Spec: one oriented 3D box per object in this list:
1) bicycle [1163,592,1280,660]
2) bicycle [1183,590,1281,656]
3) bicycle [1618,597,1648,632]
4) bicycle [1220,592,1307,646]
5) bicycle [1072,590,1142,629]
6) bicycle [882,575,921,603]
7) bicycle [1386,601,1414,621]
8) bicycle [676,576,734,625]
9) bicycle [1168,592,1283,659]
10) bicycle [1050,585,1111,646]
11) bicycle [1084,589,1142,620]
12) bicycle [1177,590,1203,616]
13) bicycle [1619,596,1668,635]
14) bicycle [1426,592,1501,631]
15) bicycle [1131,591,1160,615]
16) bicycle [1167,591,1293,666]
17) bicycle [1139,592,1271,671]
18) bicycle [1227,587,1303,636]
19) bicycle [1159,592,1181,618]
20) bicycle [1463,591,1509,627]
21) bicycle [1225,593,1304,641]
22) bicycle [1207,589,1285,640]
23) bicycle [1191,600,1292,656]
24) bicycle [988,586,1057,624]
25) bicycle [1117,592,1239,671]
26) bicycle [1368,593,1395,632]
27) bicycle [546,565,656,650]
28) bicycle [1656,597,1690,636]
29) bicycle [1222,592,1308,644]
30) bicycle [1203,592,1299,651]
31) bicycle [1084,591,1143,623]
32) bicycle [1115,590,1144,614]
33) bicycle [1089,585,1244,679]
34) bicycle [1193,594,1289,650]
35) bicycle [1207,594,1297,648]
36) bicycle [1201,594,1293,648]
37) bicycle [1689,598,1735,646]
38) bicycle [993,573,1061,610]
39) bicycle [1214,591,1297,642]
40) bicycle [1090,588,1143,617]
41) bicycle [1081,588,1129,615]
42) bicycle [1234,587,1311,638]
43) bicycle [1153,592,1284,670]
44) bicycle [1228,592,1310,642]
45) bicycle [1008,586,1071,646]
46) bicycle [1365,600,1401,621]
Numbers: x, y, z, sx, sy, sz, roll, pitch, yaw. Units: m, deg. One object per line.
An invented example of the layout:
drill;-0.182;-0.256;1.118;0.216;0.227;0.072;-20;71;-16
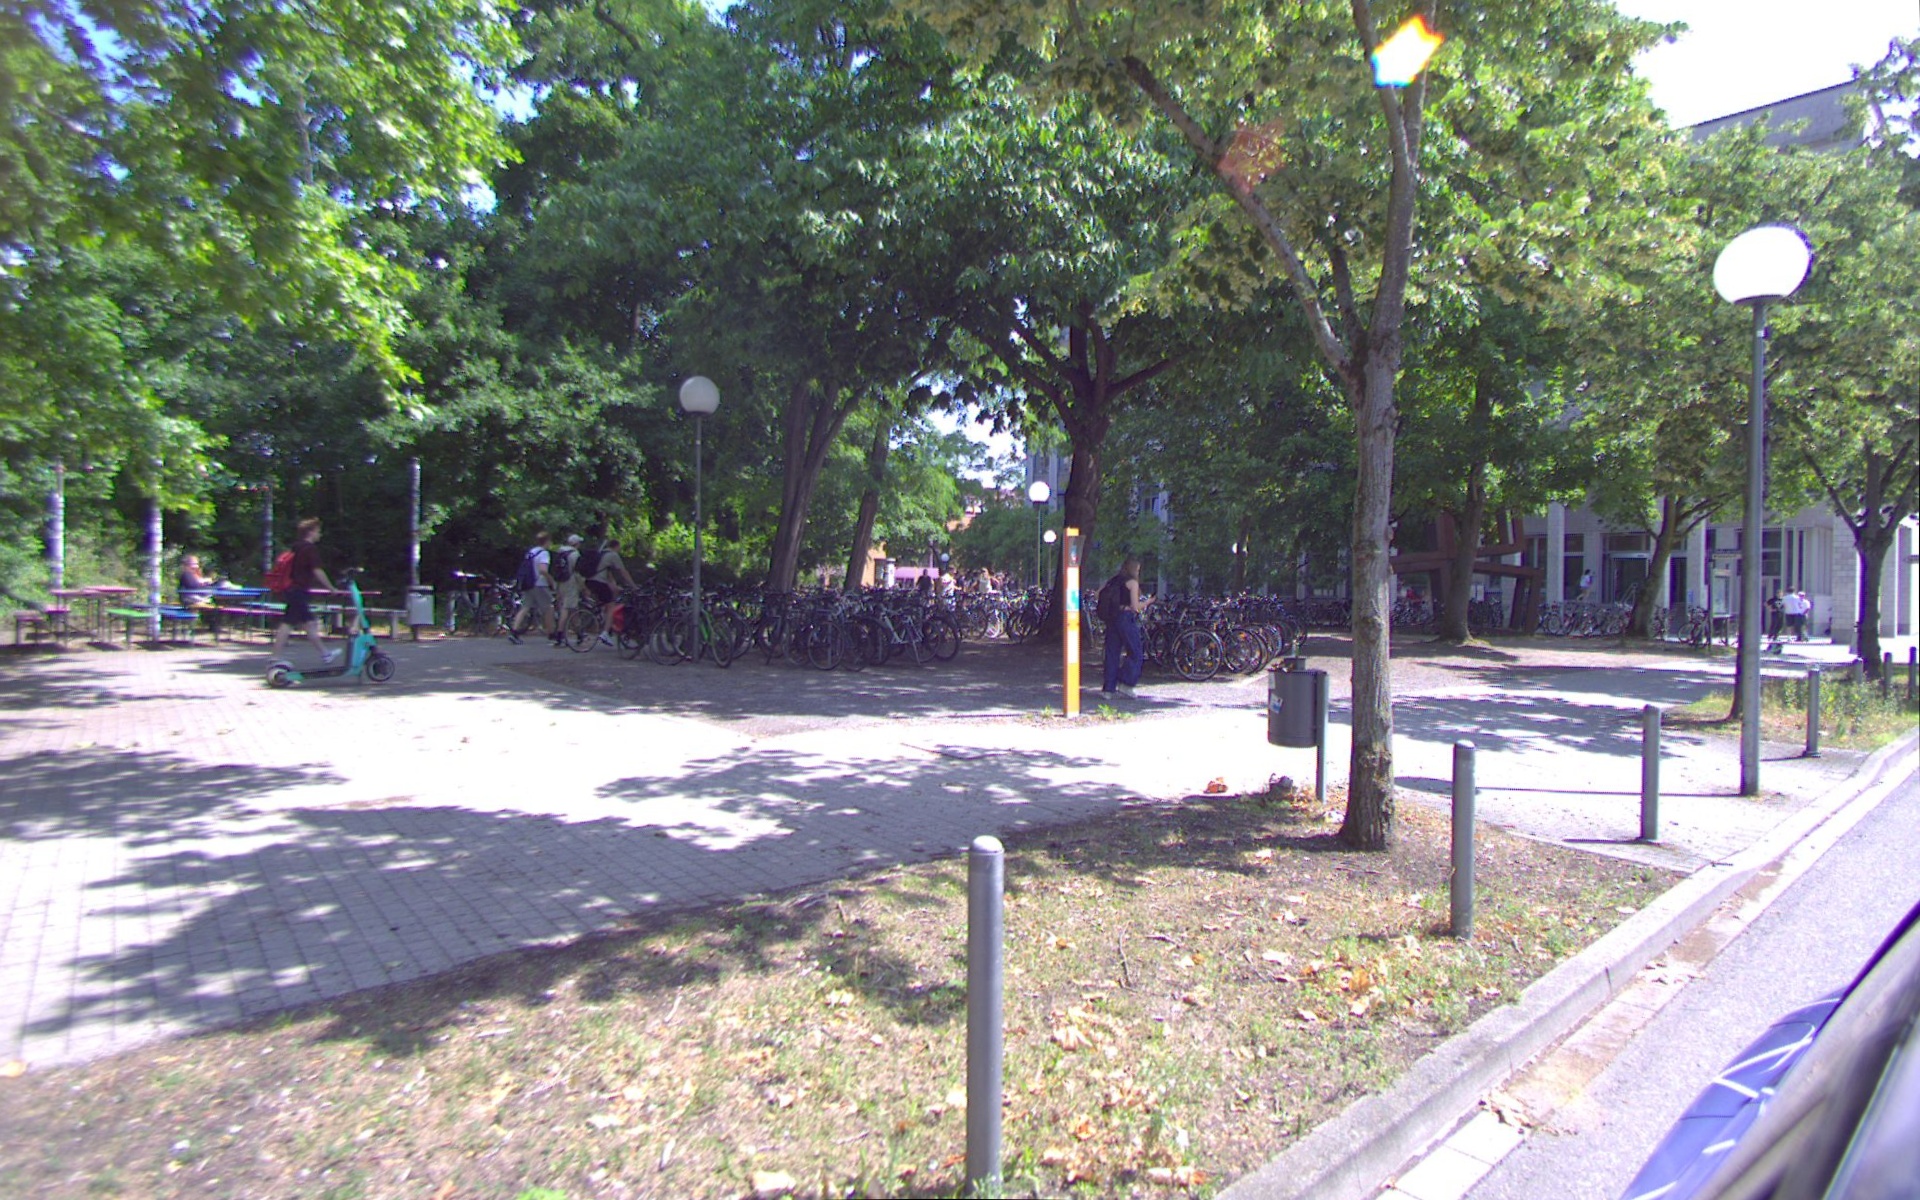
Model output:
bicycle;4.477;0.427;17.378;1.895;1.073;0.322;2;0;27
bicycle;5.044;0.411;18.864;1.712;1.169;0.492;2;0;13
bicycle;21.914;0.485;32.933;1.416;1.099;0.460;2;1;-44
bicycle;6.578;0.396;21.931;1.770;1.083;0.424;2;0;20
bicycle;4.063;0.264;28.009;1.880;0.991;0.376;2;1;20
bicycle;-2.460;-0.457;42.326;1.581;1.107;0.348;2;1;1
bicycle;20.244;0.484;46.545;1.743;0.911;0.337;0;0;-36
bicycle;-6.246;0.001;24.764;1.598;1.107;0.344;3;2;31
bicycle;4.620;0.424;17.650;1.895;1.073;0.322;2;0;27
bicycle;2.317;0.262;19.232;0.474;1.096;1.885;2;2;28
bicycle;5.154;0.152;34.109;1.871;0.991;0.478;2;1;6
bicycle;9.669;0.130;42.568;1.448;1.097;0.352;0;0;-45
bicycle;21.739;0.480;32.192;1.494;1.155;0.493;3;1;-22
bicycle;15.224;0.343;30.624;1.895;1.123;0.630;1;1;13
bicycle;8.679;0.150;47.338;0.477;1.098;1.661;-2;-3;44
bicycle;4.313;0.432;16.265;1.940;1.096;0.399;2;1;38
bicycle;3.688;0.449;15.330;1.940;1.096;0.399;2;1;38
bicycle;7.795;0.280;25.883;1.819;1.185;0.344;2;0;16
bicycle;8.989;0.217;43.217;0.350;1.097;1.452;1;0;36
bicycle;17.440;0.306;33.539;1.792;1.091;0.464;3;1;-33
bicycle;7.232;0.395;24.087;1.767;1.083;0.425;2;0;14
bicycle;6.950;0.347;24.643;1.768;1.185;0.401;2;0;16
bicycle;5.090;0.491;18.317;1.717;0.921;0.491;2;0;21
bicycle;1.752;0.124;28.480;1.880;0.991;0.376;2;1;20
bicycle;3.249;0.447;15.202;1.764;1.096;0.432;2;1;38
bicycle;13.236;0.377;31.793;0.468;1.123;1.664;1;2;12
bicycle;-5.718;0.095;16.202;0.527;1.268;1.720;3;2;28
bicycle;22.437;0.526;31.824;1.464;1.155;0.560;2;1;-44
bicycle;6.724;0.387;22.343;1.770;1.083;0.424;2;0;20
bicycle;5.576;0.400;19.446;1.712;1.065;0.492;2;0;13
bicycle;5.109;0.236;33.725;1.871;0.991;0.478;2;1;6
bicycle;8.049;0.112;47.985;0.477;1.098;1.661;-2;-3;44
bicycle;2.833;0.406;14.013;2.010;1.181;0.643;2;1;38
bicycle;5.534;0.423;19.953;1.773;1.041;0.438;2;0;18
bicycle;6.079;0.424;21.101;1.769;1.041;0.379;2;0;18
bicycle;5.882;0.419;20.790;1.769;1.041;0.380;2;0;18
bicycle;19.148;0.545;25.801;0.622;1.097;1.674;-1;2;26
bicycle;1.909;-0.247;28.882;1.880;0.991;0.376;2;1;20
bicycle;6.762;0.362;23.175;1.772;1.083;0.423;2;0;22
bicycle;5.760;0.083;37.374;1.870;0.991;0.478;2;1;5
bicycle;5.890;0.054;41.030;1.874;0.991;0.477;2;1;12
bicycle;7.661;0.305;24.860;1.768;1.185;0.401;2;0;16
bicycle;3.970;0.451;15.648;1.940;1.096;0.399;2;1;38
bicycle;7.163;0.374;23.458;1.772;1.083;0.423;2;0;22
bicycle;1.561;0.281;19.505;0.474;1.096;1.885;2;2;28
bicycle;19.762;0.495;47.233;1.739;0.911;0.449;1;-1;-23
